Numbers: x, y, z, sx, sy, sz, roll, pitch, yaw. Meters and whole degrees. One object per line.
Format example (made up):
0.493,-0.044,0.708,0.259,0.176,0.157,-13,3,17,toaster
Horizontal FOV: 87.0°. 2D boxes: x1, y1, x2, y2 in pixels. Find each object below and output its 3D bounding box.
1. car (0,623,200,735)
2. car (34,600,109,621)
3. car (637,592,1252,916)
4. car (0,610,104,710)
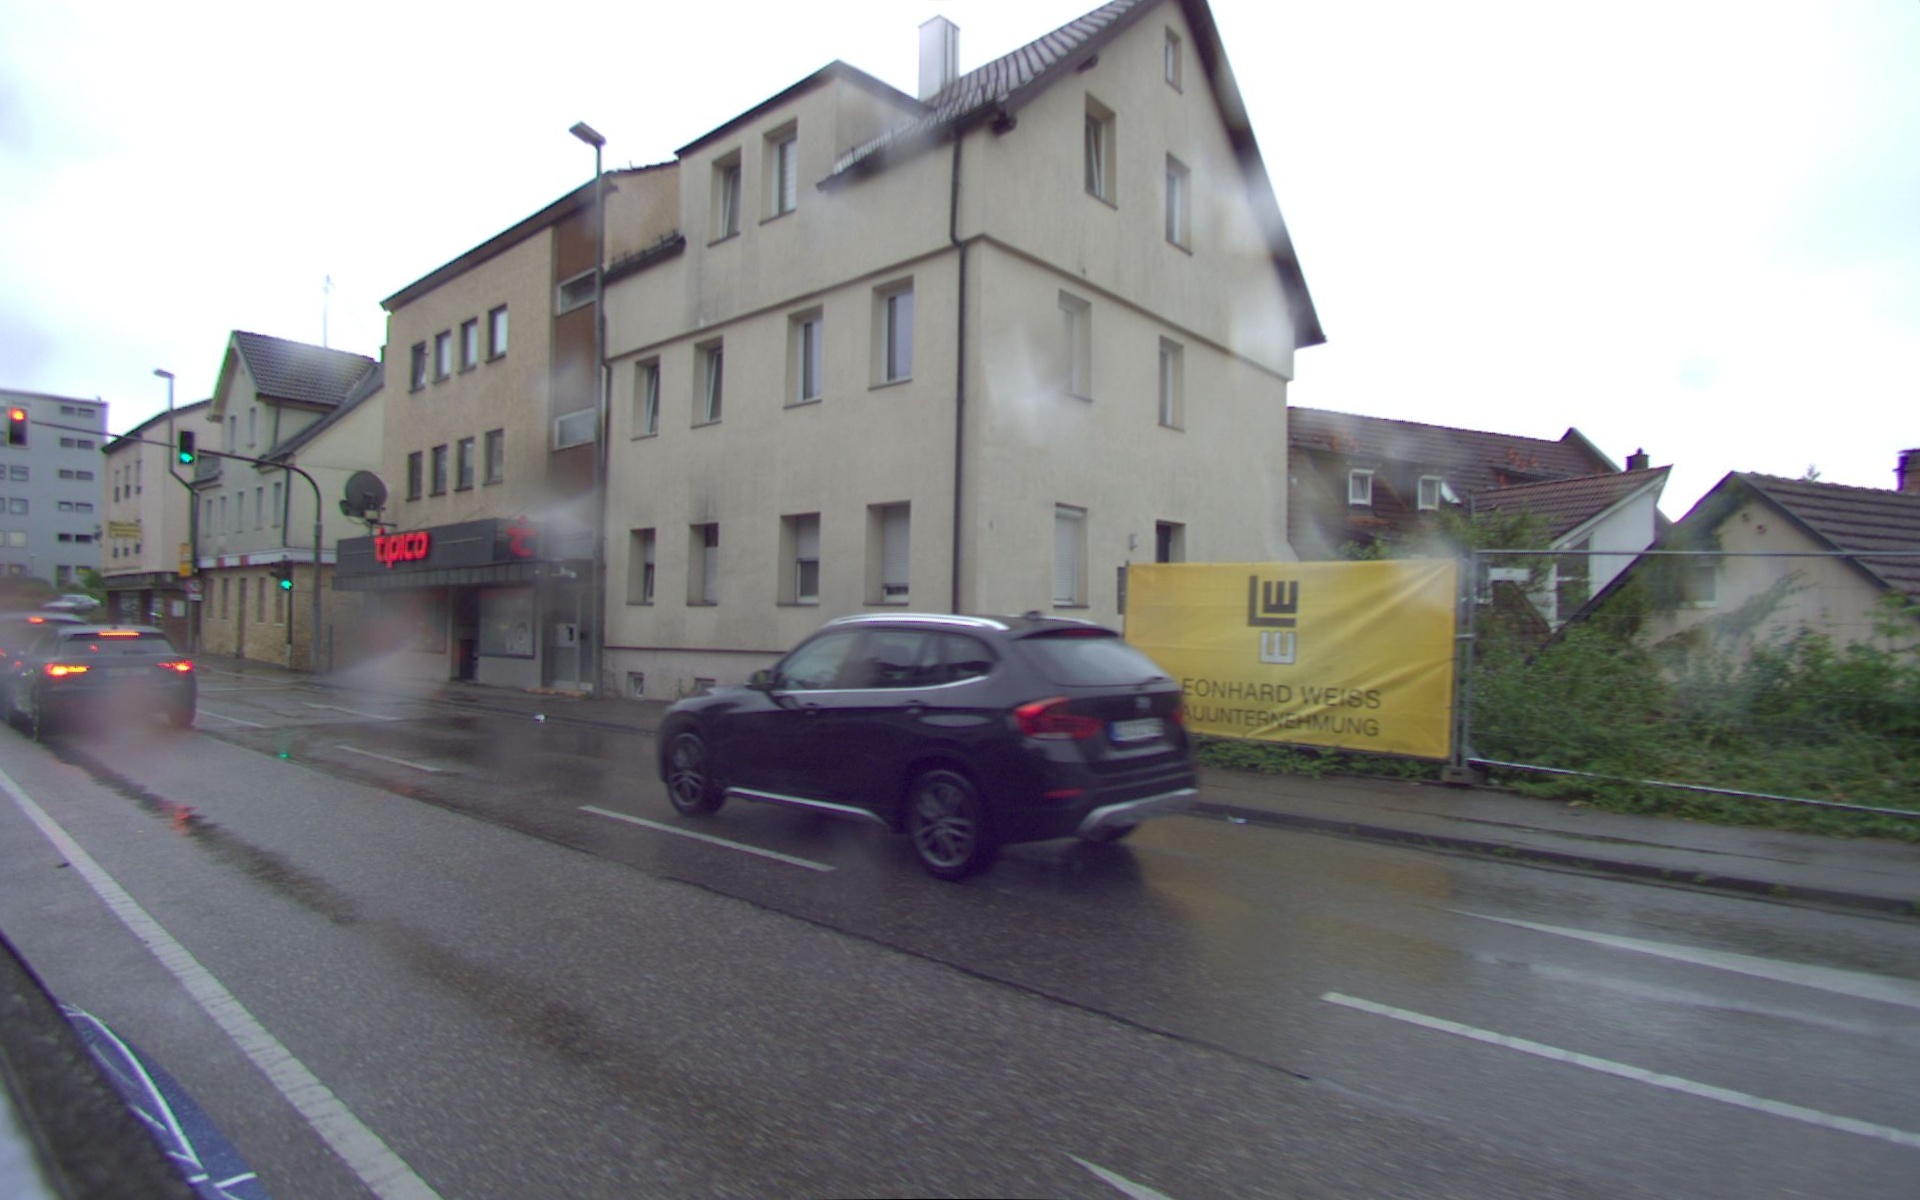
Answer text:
-12.333,1.026,14.419,3.667,1.394,1.689,-1,-2,41,car
-65.058,0.803,74.170,1.669,1.472,3.988,0,-1,9,car
-0.342,0.822,7.107,4.276,1.583,1.796,-1,-3,43,car
-17.298,1.055,18.568,4.273,1.657,1.797,-2,-2,41,car
